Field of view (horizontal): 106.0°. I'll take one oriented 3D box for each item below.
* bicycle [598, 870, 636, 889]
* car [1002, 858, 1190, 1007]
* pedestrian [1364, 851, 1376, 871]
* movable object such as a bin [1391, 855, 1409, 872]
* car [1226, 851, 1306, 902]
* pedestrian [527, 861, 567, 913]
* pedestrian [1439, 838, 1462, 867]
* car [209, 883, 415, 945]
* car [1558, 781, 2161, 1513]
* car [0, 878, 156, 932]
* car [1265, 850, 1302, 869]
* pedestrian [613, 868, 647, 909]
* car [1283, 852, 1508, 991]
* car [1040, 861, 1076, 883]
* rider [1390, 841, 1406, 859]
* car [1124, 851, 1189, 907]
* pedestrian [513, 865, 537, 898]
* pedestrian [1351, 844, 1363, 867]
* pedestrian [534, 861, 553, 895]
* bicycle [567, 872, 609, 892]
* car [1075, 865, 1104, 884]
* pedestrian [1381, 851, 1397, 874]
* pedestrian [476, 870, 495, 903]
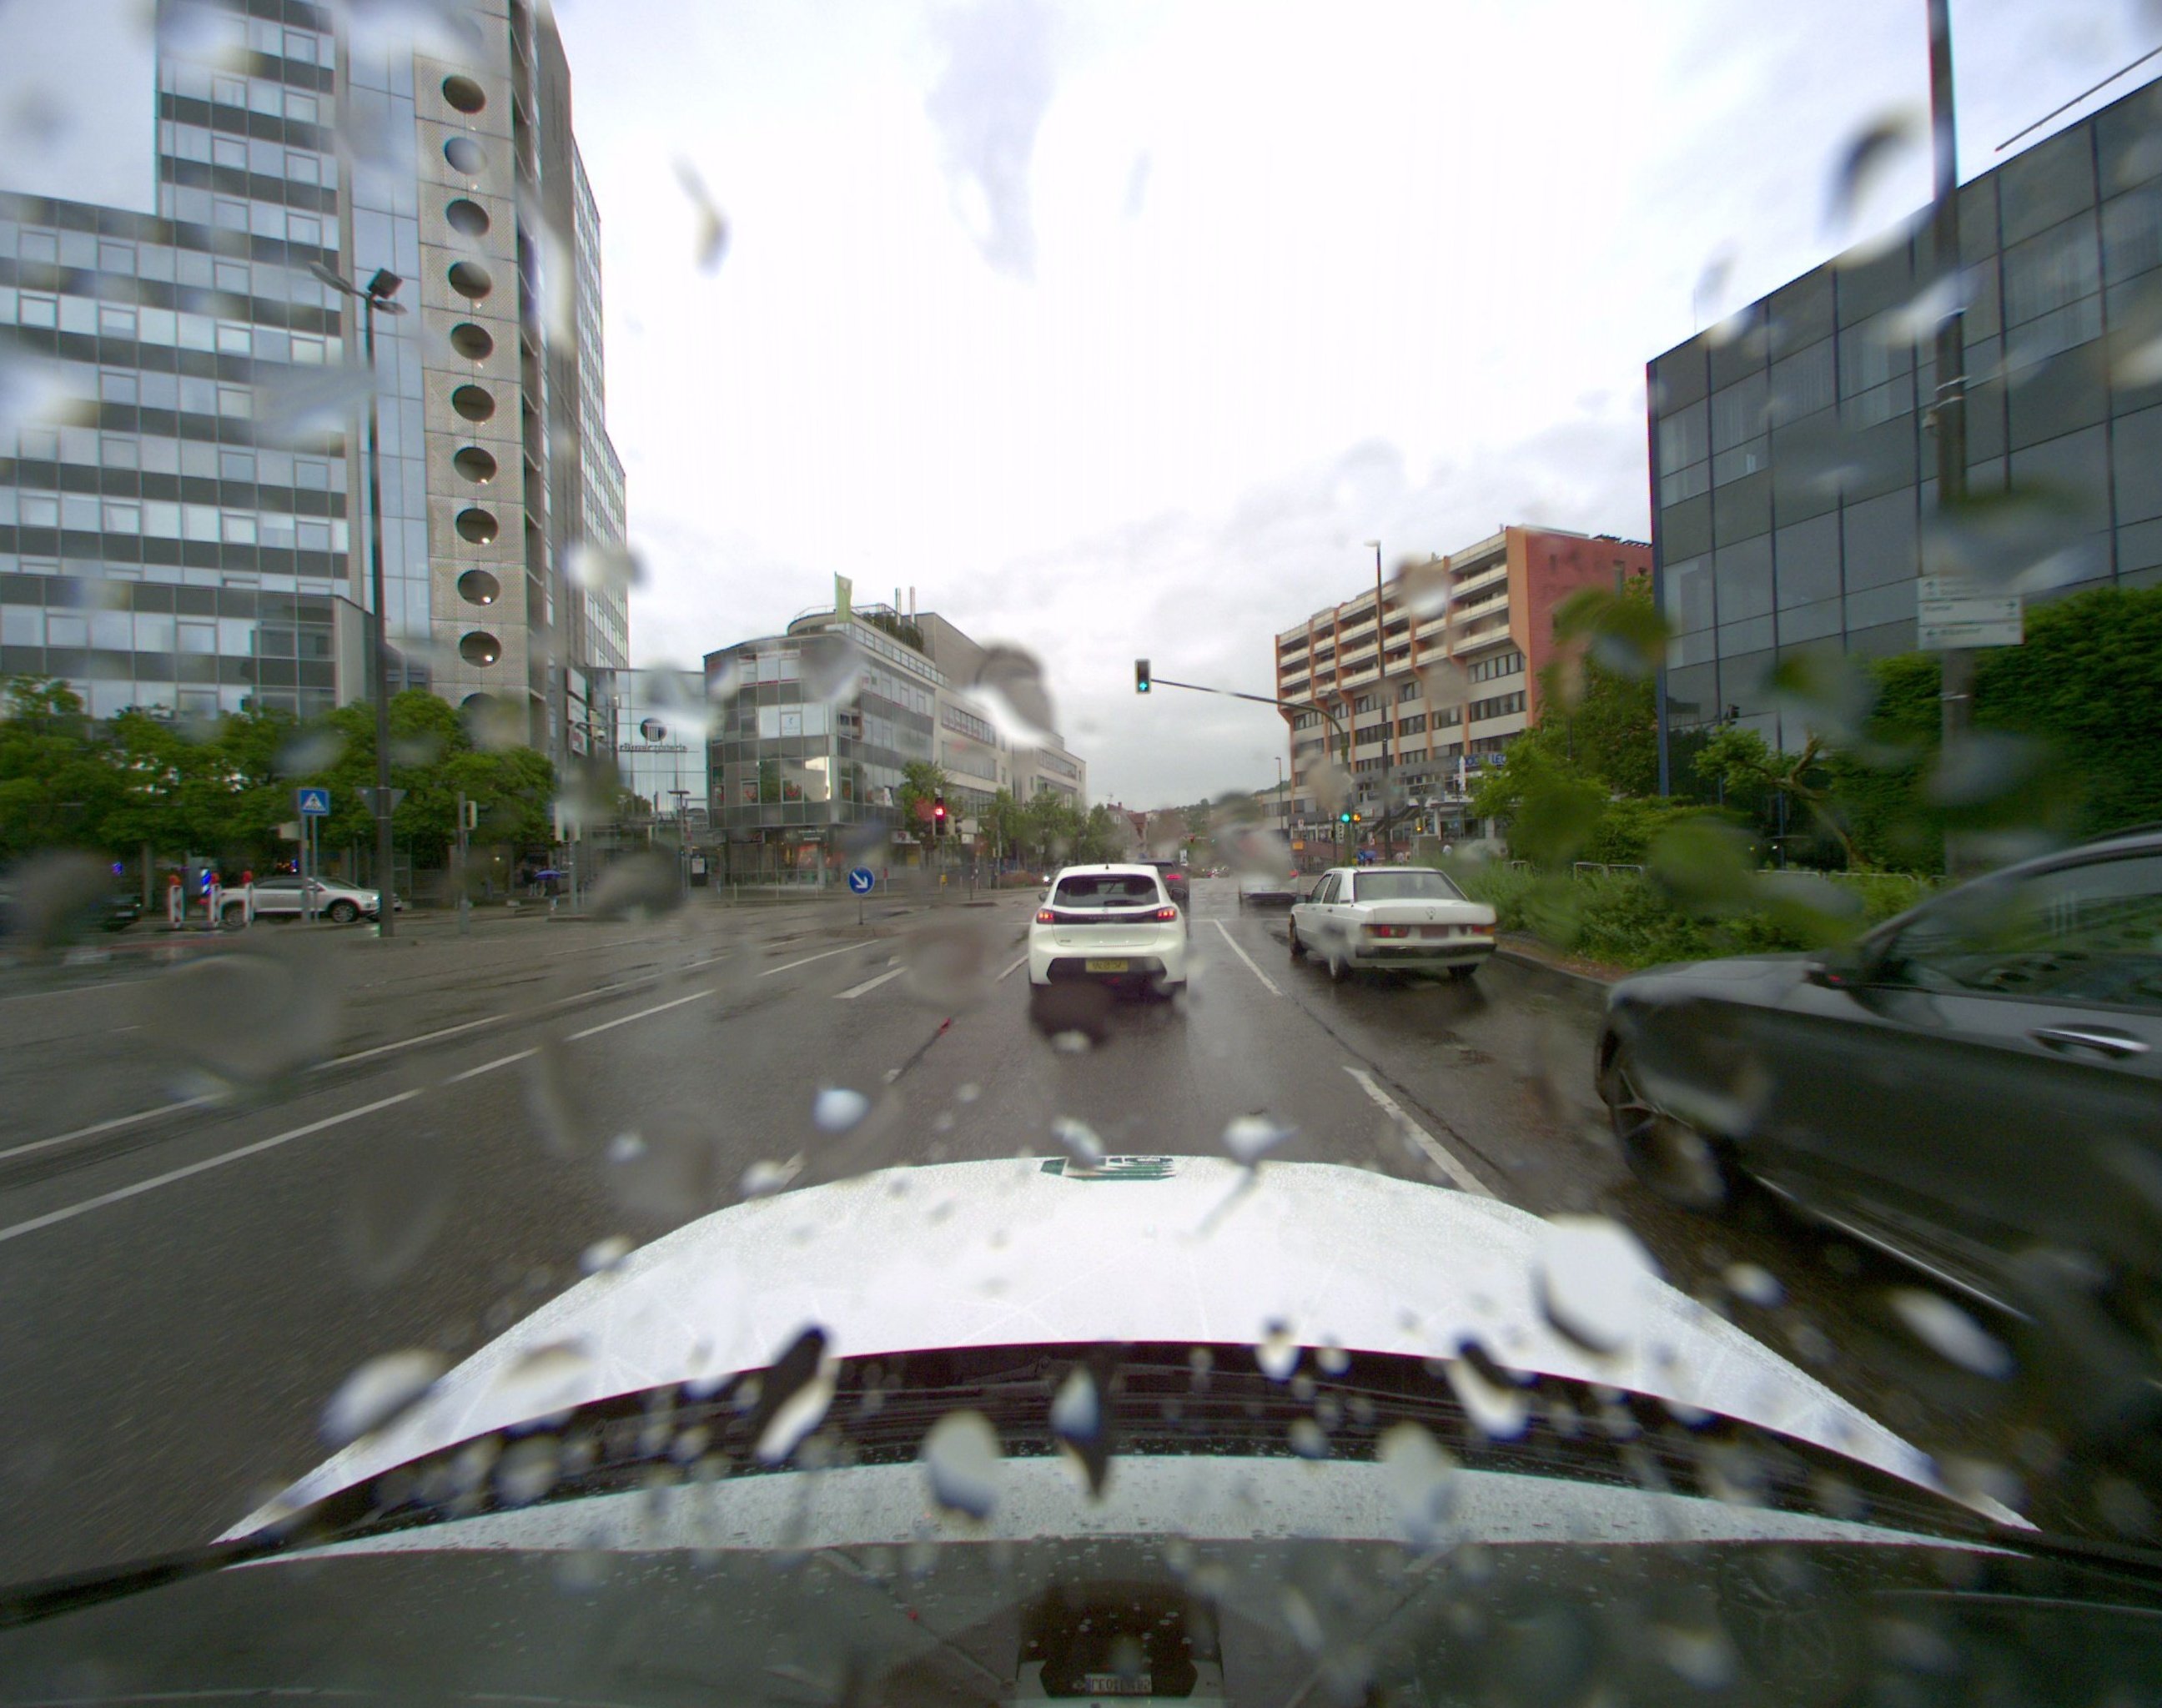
[{"bbox_3d":[-33.995,1.873,59.699,2.281,1.247,0.672,-2,-1,-21],"label":"bicycle"},{"bbox_3d":[0.390,0.799,10.099,1.861,1.462,3.881,-1,0,8],"label":"car"},{"bbox_3d":[19.968,0.456,56.235,0.702,1.345,0.658,-3,-2,15],"label":"pedestrian"},{"bbox_3d":[25.321,0.764,64.679,1.122,1.332,1.459,-1,1,11],"label":"movable object such as a bin"},{"bbox_3d":[5.603,0.652,25.017,1.903,1.400,3.462,-2,-1,5],"label":"car"},{"bbox_3d":[-21.707,1.325,33.123,1.168,2.013,1.317,-1,0,-26],"label":"pedestrian"},{"bbox_3d":[22.217,-0.070,49.008,0.826,1.691,1.128,-2,-1,0],"label":"pedestrian"},{"bbox_3d":[-23.594,1.790,25.195,4.202,1.595,1.859,-2,0,-17],"label":"car"},{"bbox_3d":[3.340,0.636,2.026,1.894,1.621,4.338,-1,0,2],"label":"car"},{"bbox_3d":[-30.320,1.478,23.750,4.049,1.420,1.862,-1,0,-13],"label":"car"},{"bbox_3d":[26.690,0.738,107.383,2.003,2.226,4.935,-2,-1,-24],"label":"car"},{"bbox_3d":[-20.747,1.562,37.511,0.839,1.819,1.028,-2,-1,13],"label":"pedestrian"},{"bbox_3d":[3.814,0.736,10.665,1.626,1.448,4.274,0,-1,5],"label":"car"},{"bbox_3d":[-1.762,1.404,64.126,1.908,1.632,4.916,-1,0,10],"label":"car"},{"bbox_3d":[25.196,-0.326,64.649,0.916,1.284,1.094,-5,0,11],"label":"rider"},{"bbox_3d":[2.294,0.693,24.530,1.806,1.529,3.819,0,0,6],"label":"car"},{"bbox_3d":[-32.712,1.594,47.883,0.828,1.868,0.753,-2,-1,0],"label":"pedestrian"},{"bbox_3d":[18.997,0.115,56.059,0.702,1.607,0.658,0,0,16],"label":"pedestrian"},{"bbox_3d":[-31.726,1.404,48.067,0.714,2.013,0.761,-1,0,-17],"label":"pedestrian"},{"bbox_3d":[-33.051,1.870,54.613,2.281,1.247,0.672,-2,-1,-21],"label":"bicycle"},{"bbox_3d":[0.826,1.914,77.931,1.762,1.594,4.603,-6,-2,12],"label":"car"},{"bbox_3d":[22.887,0.632,60.555,0.791,1.668,0.931,-2,-1,0],"label":"pedestrian"},{"bbox_3d":[-34.268,1.868,46.862,0.823,1.868,0.758,-3,-1,44],"label":"pedestrian"}]
